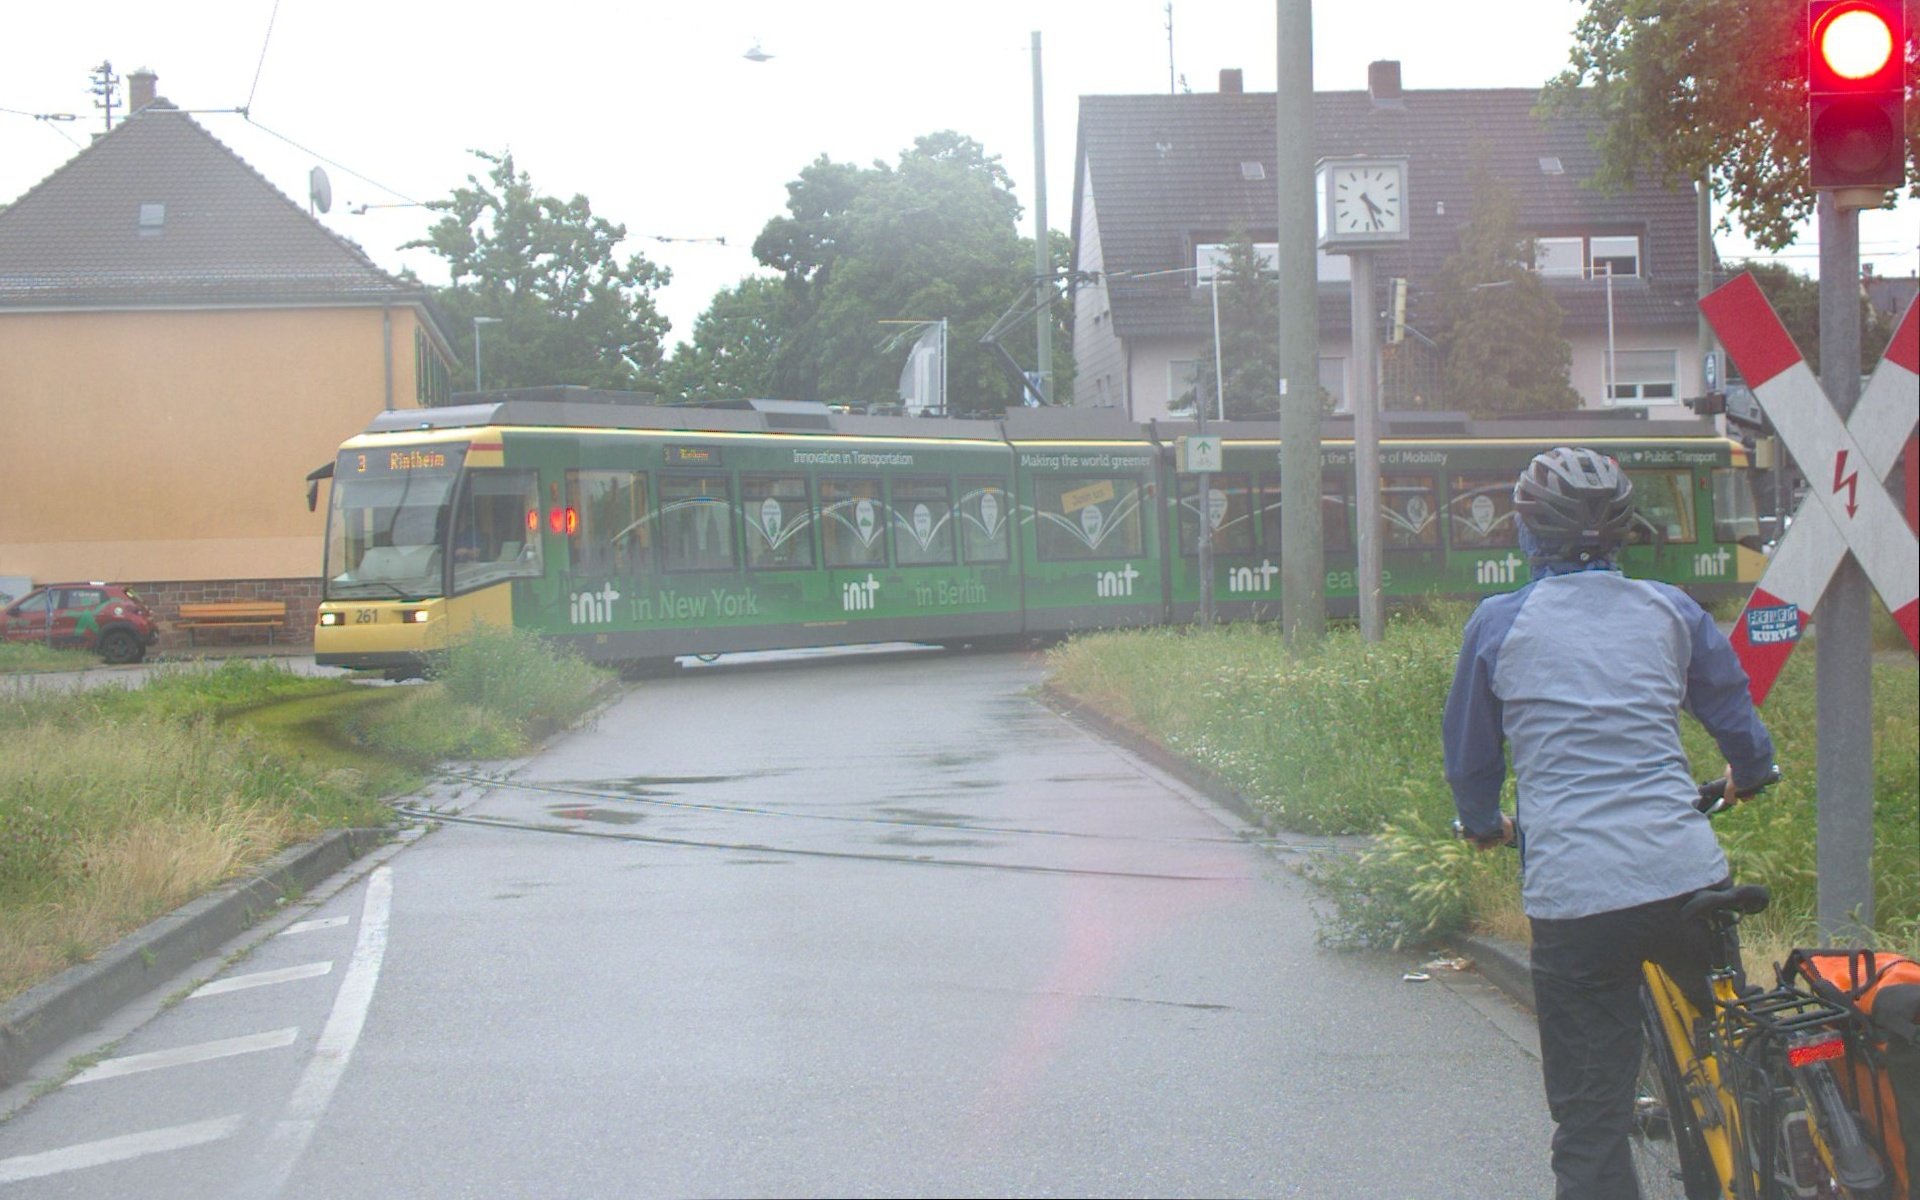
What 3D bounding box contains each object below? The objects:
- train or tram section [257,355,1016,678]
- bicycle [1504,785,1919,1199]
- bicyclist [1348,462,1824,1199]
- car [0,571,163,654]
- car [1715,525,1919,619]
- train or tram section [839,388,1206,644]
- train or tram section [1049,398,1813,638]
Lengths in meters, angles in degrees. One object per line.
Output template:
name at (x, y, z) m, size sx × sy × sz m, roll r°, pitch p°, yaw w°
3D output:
train or tram section at (-3.620, -1.072, 43.596) m, size 2.765 × 3.540 × 12.182 m, roll 2°, pitch 2°, yaw 32°
bicycle at (1.348, 0.896, 6.067) m, size 0.446 × 1.001 × 1.728 m, roll -1°, pitch 1°, yaw -2°
bicyclist at (1.103, 0.579, 6.228) m, size 0.667 × 1.620 × 0.853 m, roll 1°, pitch 0°, yaw -2°
car at (-16.668, 0.205, 62.593) m, size 3.986 × 1.451 × 1.834 m, roll 1°, pitch 0°, yaw -6°
car at (16.353, -0.530, 65.102) m, size 3.684 × 1.695 × 1.890 m, roll 1°, pitch 0°, yaw 0°
train or tram section at (0.961, -1.242, 50.356) m, size 2.767 × 3.540 × 4.976 m, roll 2°, pitch 2°, yaw 41°
train or tram section at (7.767, -1.234, 55.065) m, size 13.088 × 3.541 × 2.770 m, roll 0°, pitch 1°, yaw -30°
